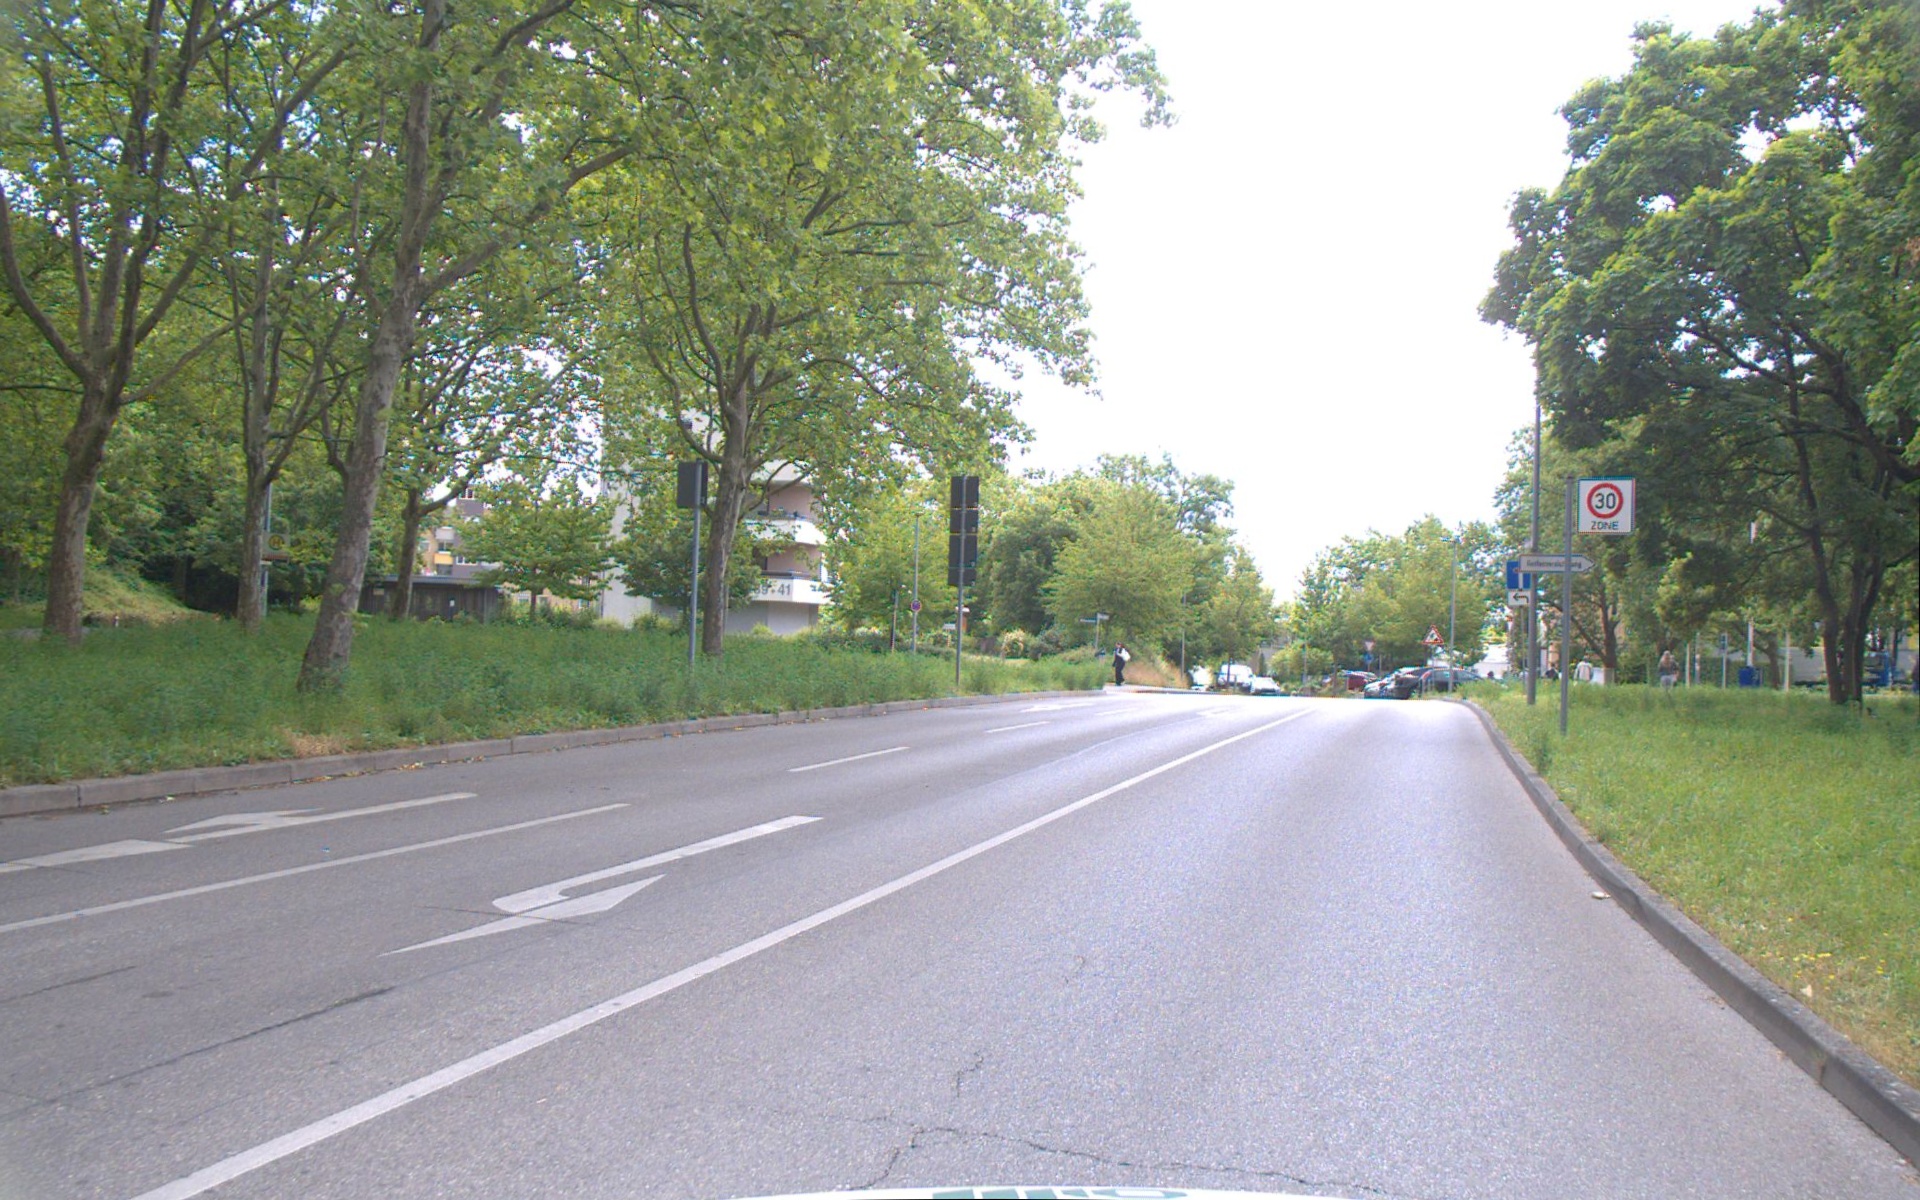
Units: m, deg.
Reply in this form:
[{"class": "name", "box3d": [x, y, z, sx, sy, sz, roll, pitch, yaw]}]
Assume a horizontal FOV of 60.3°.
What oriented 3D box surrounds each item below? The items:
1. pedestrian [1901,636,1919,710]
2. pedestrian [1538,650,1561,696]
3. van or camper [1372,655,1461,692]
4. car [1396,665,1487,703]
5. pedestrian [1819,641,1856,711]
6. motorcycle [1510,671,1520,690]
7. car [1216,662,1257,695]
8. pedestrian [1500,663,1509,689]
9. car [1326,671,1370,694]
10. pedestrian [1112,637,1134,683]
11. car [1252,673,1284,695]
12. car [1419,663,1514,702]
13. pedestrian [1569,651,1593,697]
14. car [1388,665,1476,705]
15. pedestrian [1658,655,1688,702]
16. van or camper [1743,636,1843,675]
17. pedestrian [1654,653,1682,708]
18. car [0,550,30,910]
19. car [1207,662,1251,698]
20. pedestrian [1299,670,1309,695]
[{"class": "pedestrian", "box3d": [23.199, 1.764, 39.893, 0.761, 1.753, 0.820, 1, 0, 35]}, {"class": "pedestrian", "box3d": [23.183, 2.864, 65.068, 0.759, 1.753, 0.823, 1, 0, 24]}, {"class": "van or camper", "box3d": [25.570, 4.092, 92.757, 4.572, 1.903, 1.773, 1, 0, 9]}, {"class": "car", "box3d": [21.419, 3.748, 73.655, 3.839, 1.527, 1.772, 1, -5, 17]}, {"class": "pedestrian", "box3d": [22.903, 1.973, 43.164, 0.761, 1.753, 0.821, 1, 0, 33]}, {"class": "motorcycle", "box3d": [25.979, 3.770, 77.392, 0.443, 0.808, 1.264, 1, 0, 19]}, {"class": "car", "box3d": [13.521, 3.831, 80.714, 1.728, 1.527, 3.937, 1, -2, 13]}, {"class": "pedestrian", "box3d": [25.567, 3.564, 77.701, 0.387, 1.172, 0.485, 1, 0, 19]}, {"class": "car", "box3d": [32.522, 6.909, 138.626, 3.465, 1.683, 1.622, 2, -2, 9]}, {"class": "pedestrian", "box3d": [6.266, 2.297, 63.559, 0.803, 1.753, 0.777, 1, 0, 7]}, {"class": "car", "box3d": [22.059, 6.014, 118.634, 1.932, 1.489, 3.936, 1, -2, 6]}, {"class": "car", "box3d": [21.781, 3.559, 71.219, 3.839, 1.494, 1.772, 1, -5, 17]}, {"class": "pedestrian", "box3d": [24.306, 2.881, 64.726, 0.784, 1.753, 0.823, 1, 0, 18]}, {"class": "car", "box3d": [21.797, 3.925, 76.383, 3.839, 1.659, 1.772, 1, -5, 17]}, {"class": "pedestrian", "box3d": [26.834, 2.938, 62.266, 0.817, 1.724, 0.764, 2, -1, -45]}, {"class": "van or camper", "box3d": [45.816, 3.036, 91.036, 1.758, 1.948, 4.612, 1, -1, -44]}, {"class": "pedestrian", "box3d": [21.687, 2.449, 50.652, 0.759, 1.624, 0.823, 1, -1, 23]}, {"class": "car", "box3d": [-5.764, 0.551, 5.715, 1.730, 1.614, 4.413, 1, 0, 18]}, {"class": "car", "box3d": [12.374, 3.660, 75.870, 1.728, 1.527, 3.937, 1, -1, 13]}, {"class": "pedestrian", "box3d": [26.990, 6.490, 129.760, 0.705, 1.897, 0.651, 1, -1, 5]}]
